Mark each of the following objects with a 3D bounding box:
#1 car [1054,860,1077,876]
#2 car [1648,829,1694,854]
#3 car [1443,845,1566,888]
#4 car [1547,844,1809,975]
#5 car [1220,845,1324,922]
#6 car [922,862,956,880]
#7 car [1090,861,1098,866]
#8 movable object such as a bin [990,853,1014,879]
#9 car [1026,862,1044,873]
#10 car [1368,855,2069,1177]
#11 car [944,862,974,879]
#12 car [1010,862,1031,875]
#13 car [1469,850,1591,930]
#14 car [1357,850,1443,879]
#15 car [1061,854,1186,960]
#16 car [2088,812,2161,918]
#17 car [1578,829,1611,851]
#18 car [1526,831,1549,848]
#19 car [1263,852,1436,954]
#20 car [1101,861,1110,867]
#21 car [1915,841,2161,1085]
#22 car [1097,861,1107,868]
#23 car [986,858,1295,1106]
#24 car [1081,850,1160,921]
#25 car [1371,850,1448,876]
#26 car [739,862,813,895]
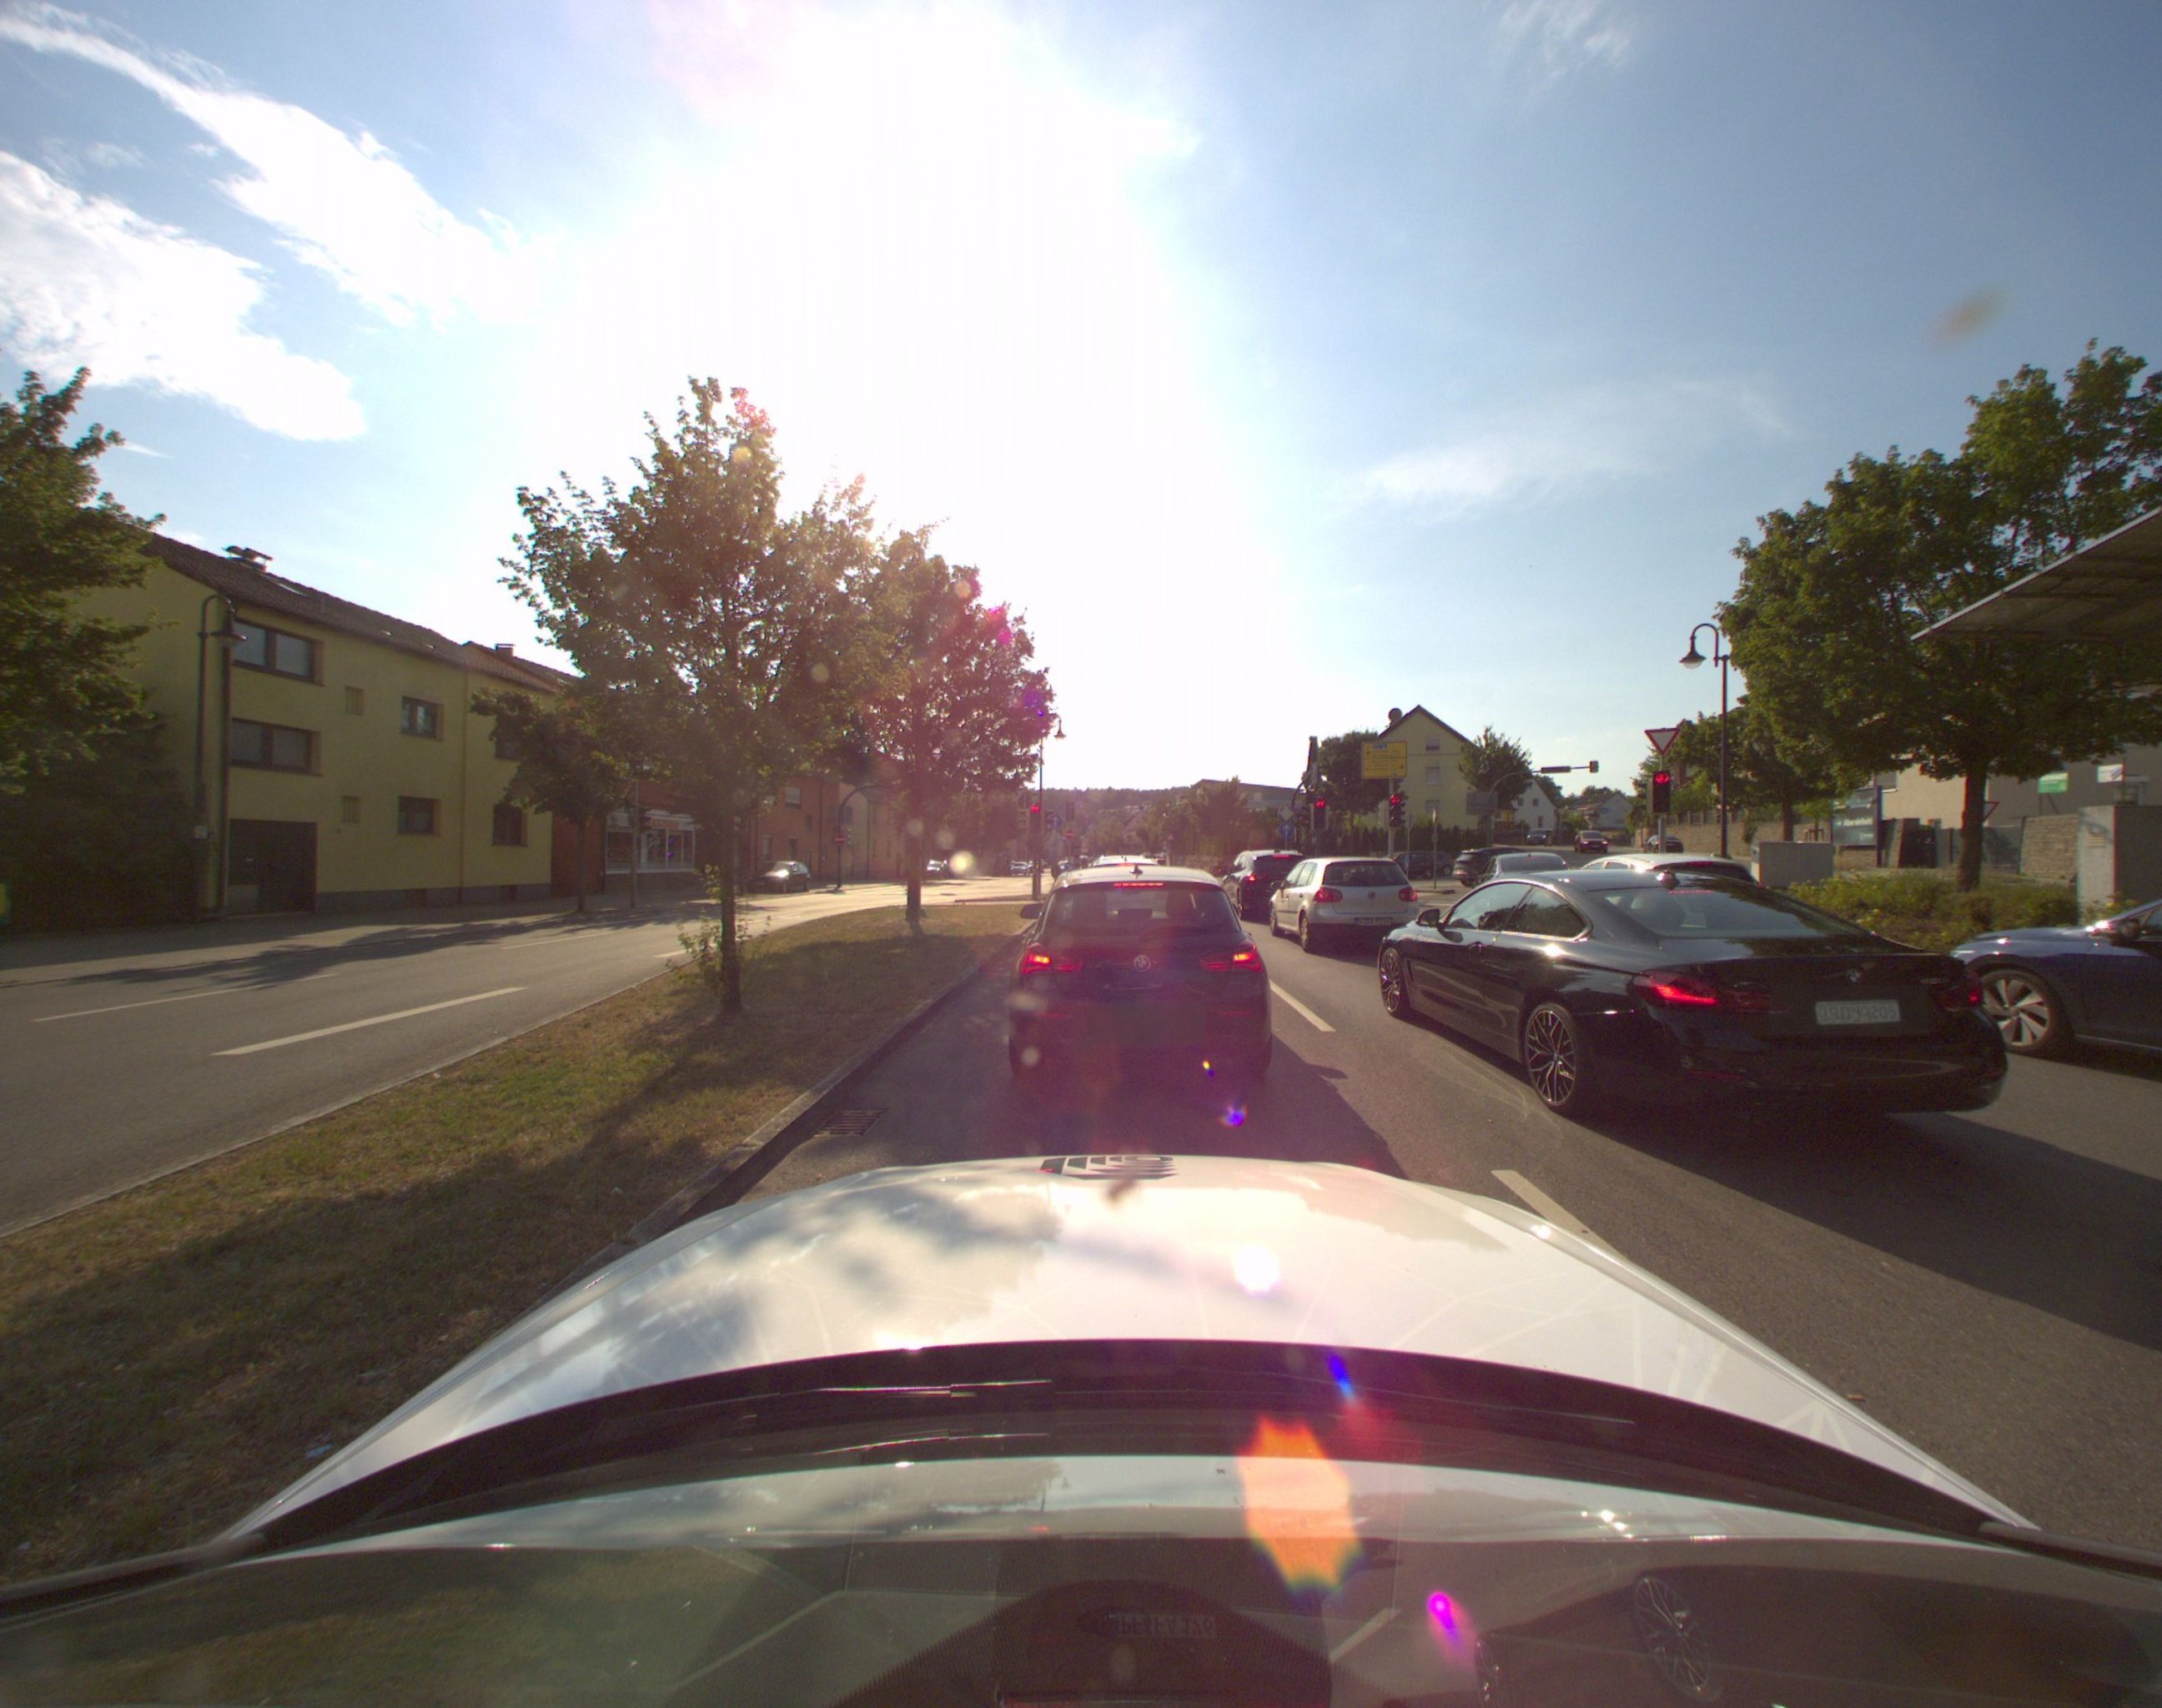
[{"bbox_3d":[-1.527,1.389,81.135,1.830,1.482,4.005,-1,0,5],"label":"car"},{"bbox_3d":[41.673,-0.868,57.644,1.946,1.680,4.240,-2,0,27],"label":"car"},{"bbox_3d":[17.946,0.516,34.621,4.192,1.680,1.969,-2,0,-4],"label":"car"},{"bbox_3d":[8.111,0.670,11.456,1.608,1.542,3.326,-2,0,9],"label":"car"},{"bbox_3d":[4.570,0.648,20.036,1.755,1.656,3.905,-2,0,2],"label":"car"},{"bbox_3d":[-11.743,1.423,67.586,1.728,1.301,4.006,4,0,6],"label":"car"},{"bbox_3d":[3.682,2.608,227.113,1.729,1.301,3.804,4,0,5],"label":"car"},{"bbox_3d":[-7.860,1.172,81.829,1.729,2.442,4.452,-1,0,3],"label":"movable object such as a bin"},{"bbox_3d":[-5.948,1.697,106.097,1.729,1.301,3.804,4,0,5],"label":"car"},{"bbox_3d":[3.620,0.738,5.814,1.755,1.397,4.283,-2,0,2],"label":"car"},{"bbox_3d":[-11.047,1.469,73.848,1.729,1.301,4.005,4,0,5],"label":"car"},{"bbox_3d":[-6.887,1.612,92.826,1.729,1.301,3.804,4,0,5],"label":"car"},{"bbox_3d":[9.883,0.712,18.229,1.642,1.542,4.420,-2,0,19],"label":"car"},{"bbox_3d":[17.346,0.569,44.351,3.974,1.489,1.848,0,0,-1],"label":"car"},{"bbox_3d":[0.720,0.779,14.103,1.781,1.494,4.283,-2,0,2],"label":"car"},{"bbox_3d":[18.494,0.157,12.376,3.793,1.632,1.784,0,0,10],"label":"car"},{"bbox_3d":[40.144,-1.083,63.720,1.825,1.641,4.457,0,0,28],"label":"car"},{"bbox_3d":[48.973,-1.542,87.424,1.825,1.739,4.812,0,0,25],"label":"car"},{"bbox_3d":[4.322,0.715,13.754,1.755,1.426,3.905,-2,0,2],"label":"car"},{"bbox_3d":[5.825,2.429,191.059,1.729,1.301,3.804,4,0,5],"label":"car"},{"bbox_3d":[7.406,0.651,4.256,1.755,1.453,4.321,-2,0,2],"label":"car"},{"bbox_3d":[4.305,2.083,167.541,1.729,1.301,3.804,4,0,5],"label":"car"},{"bbox_3d":[0.442,0.771,6.959,1.781,1.397,4.283,-2,0,2],"label":"car"},{"bbox_3d":[1.021,0.739,21.142,1.781,1.594,4.283,-2,0,2],"label":"car"},{"bbox_3d":[19.309,0.545,48.047,3.959,1.489,1.855,0,0,13],"label":"car"},{"bbox_3d":[-14.138,1.112,38.023,1.730,1.301,4.002,4,0,2],"label":"car"}]
